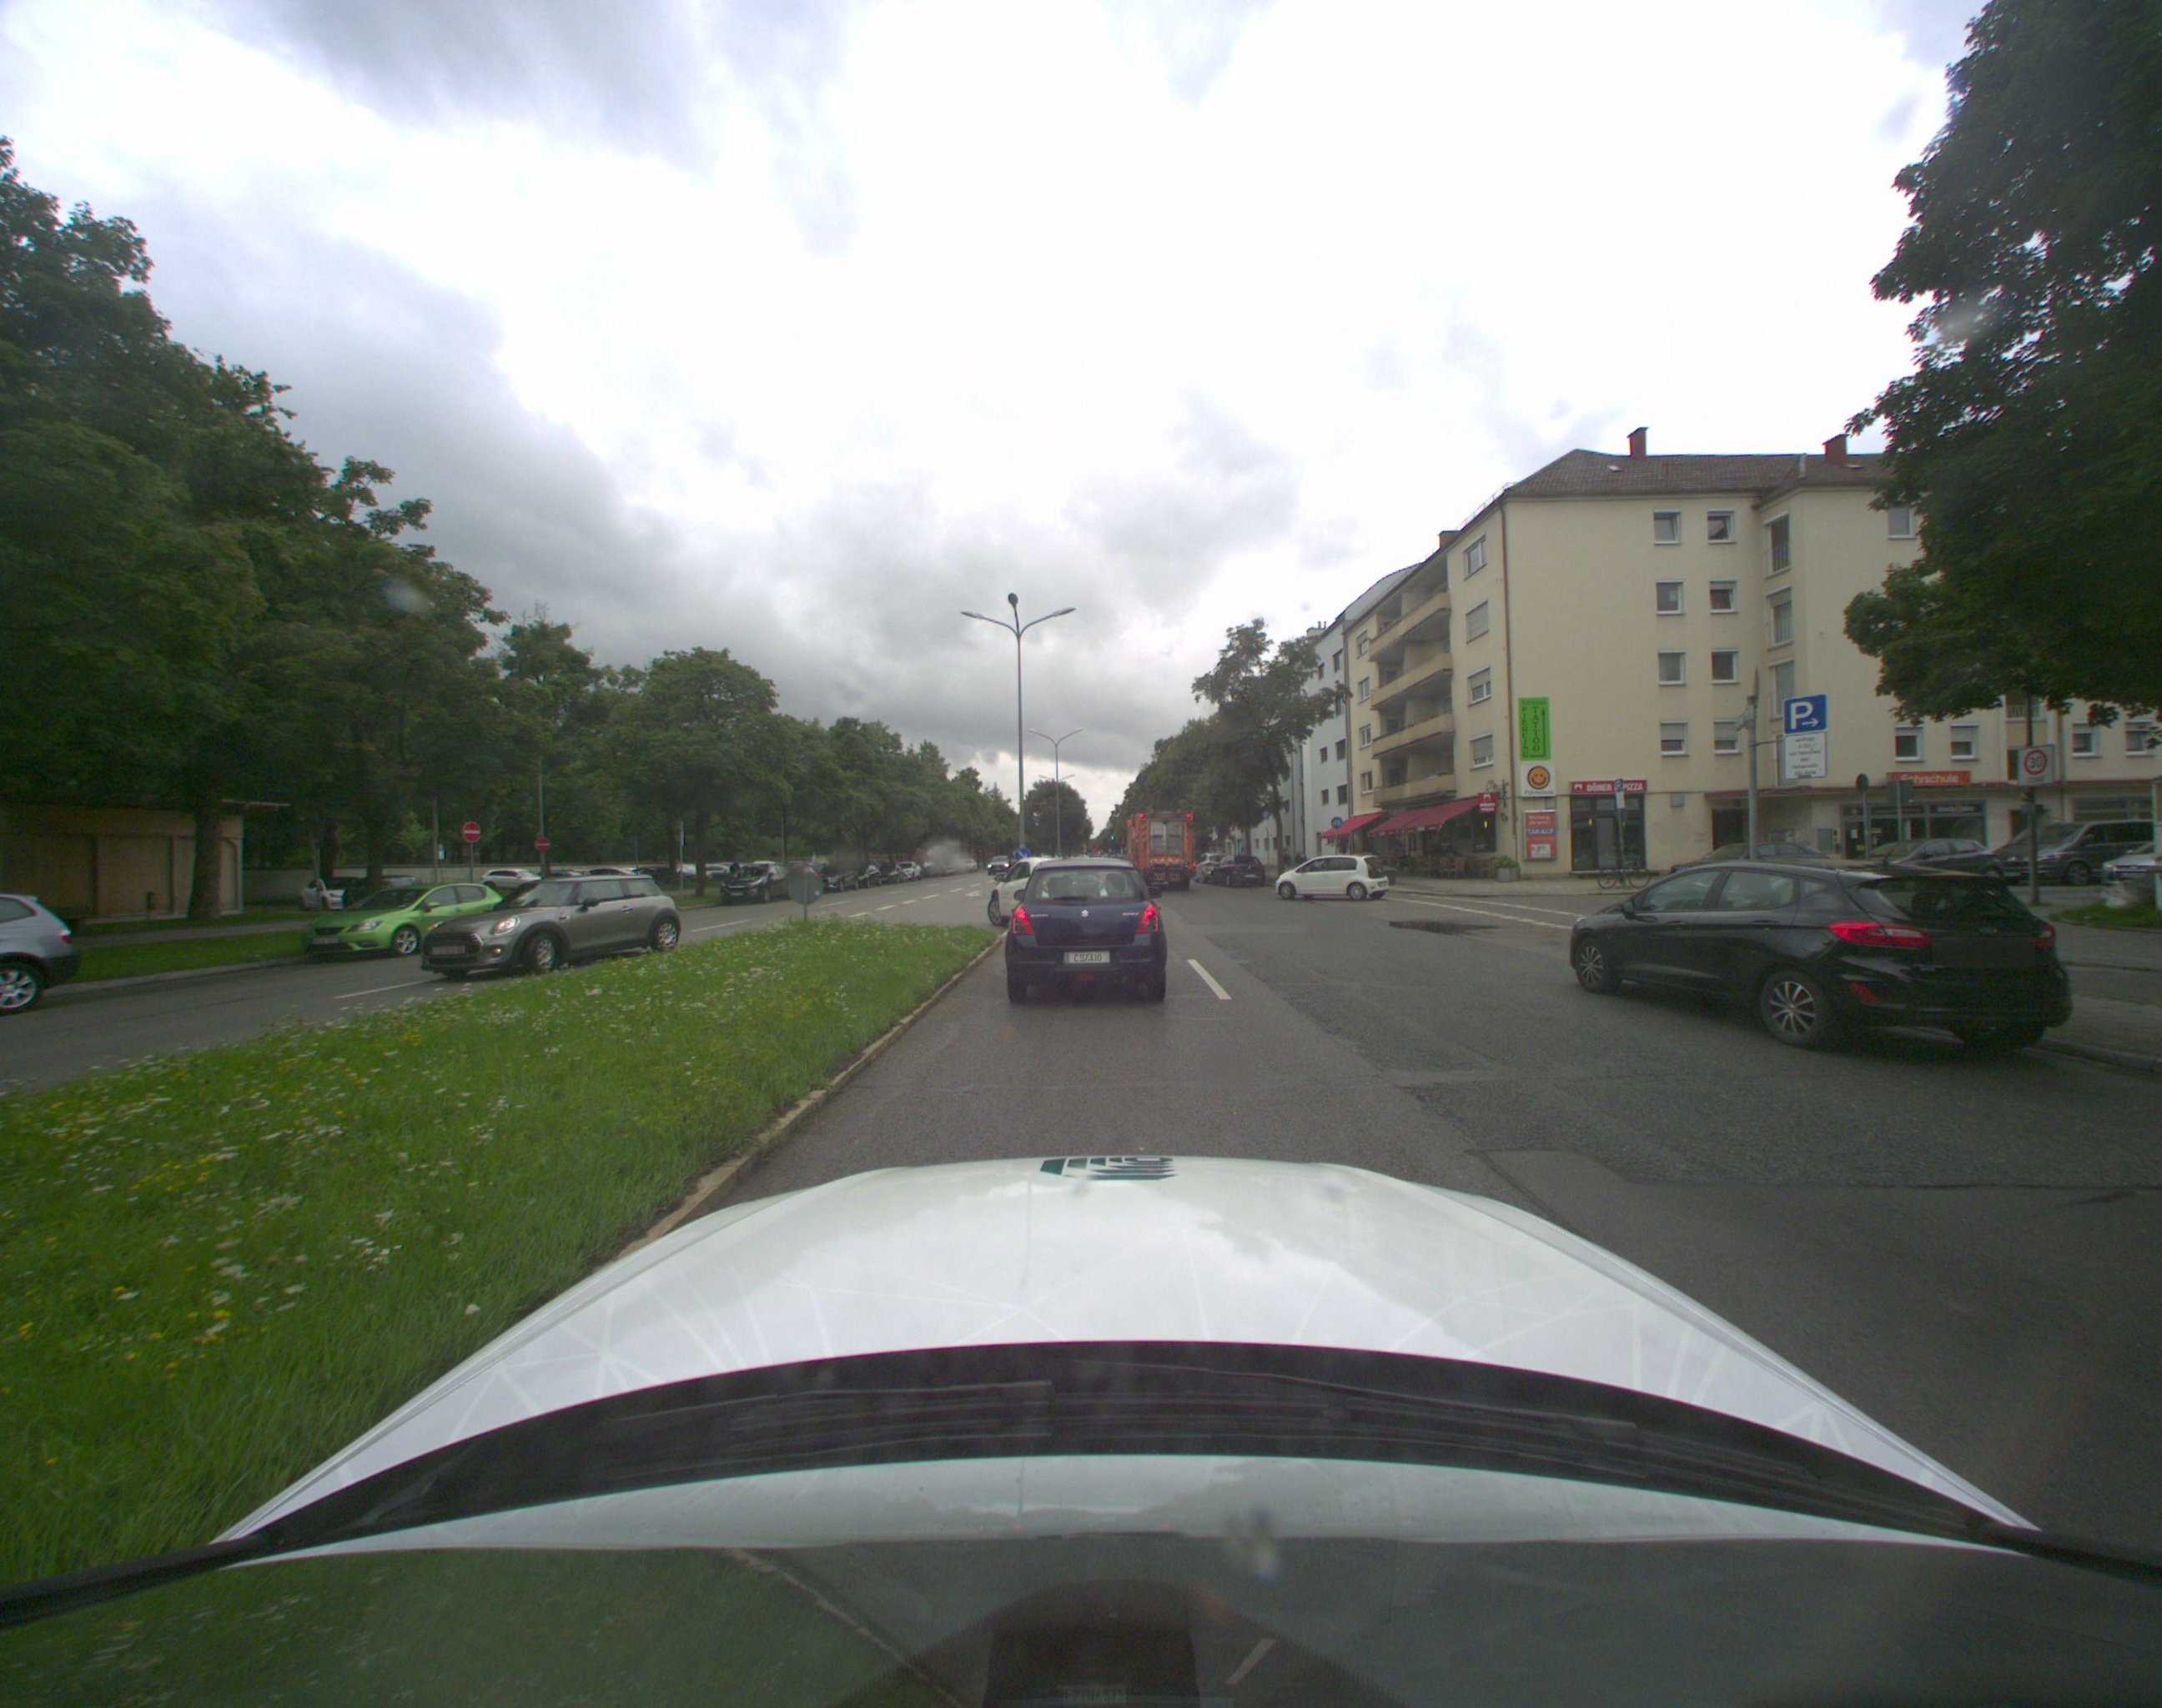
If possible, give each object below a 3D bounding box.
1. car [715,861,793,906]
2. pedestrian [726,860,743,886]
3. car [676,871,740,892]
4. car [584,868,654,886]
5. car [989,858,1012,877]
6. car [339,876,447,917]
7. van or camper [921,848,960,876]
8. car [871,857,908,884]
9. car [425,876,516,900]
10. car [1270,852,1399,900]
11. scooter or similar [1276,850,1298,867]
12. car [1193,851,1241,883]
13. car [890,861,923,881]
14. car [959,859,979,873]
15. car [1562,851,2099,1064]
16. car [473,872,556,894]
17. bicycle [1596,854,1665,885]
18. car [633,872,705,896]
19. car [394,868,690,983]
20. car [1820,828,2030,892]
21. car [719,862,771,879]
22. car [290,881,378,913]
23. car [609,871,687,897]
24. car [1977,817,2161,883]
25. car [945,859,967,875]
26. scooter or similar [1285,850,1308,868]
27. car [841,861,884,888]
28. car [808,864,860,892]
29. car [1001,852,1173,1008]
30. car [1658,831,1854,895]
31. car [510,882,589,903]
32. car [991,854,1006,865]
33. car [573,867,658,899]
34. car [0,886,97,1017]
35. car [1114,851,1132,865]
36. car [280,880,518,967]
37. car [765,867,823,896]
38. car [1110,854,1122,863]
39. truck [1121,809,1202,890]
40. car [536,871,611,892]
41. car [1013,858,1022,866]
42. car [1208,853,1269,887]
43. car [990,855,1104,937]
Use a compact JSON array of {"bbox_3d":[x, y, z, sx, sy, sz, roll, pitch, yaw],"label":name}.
[{"bbox_3d":[-13.766,1.192,34.524,1.711,1.741,3.879,-1,0,0],"label":"car"},{"bbox_3d":[-20.773,1.121,48.830,0.725,1.534,0.721,-1,-1,1],"label":"pedestrian"},{"bbox_3d":[-27.041,1.967,59.159,3.859,1.445,1.670,-1,0,-5],"label":"car"},{"bbox_3d":[-37.546,1.857,66.247,4.674,1.445,1.673,-1,0,1],"label":"car"},{"bbox_3d":[-7.005,1.142,71.223,1.627,1.552,3.879,-1,0,0],"label":"car"},{"bbox_3d":[-26.685,1.596,31.565,4.363,1.446,1.973,-1,-1,33],"label":"car"},{"bbox_3d":[-13.030,0.759,76.099,2.109,2.482,7.452,-1,0,2],"label":"van or camper"},{"bbox_3d":[-13.249,1.117,56.577,1.627,1.741,3.879,-1,0,0],"label":"car"},{"bbox_3d":[-39.567,2.182,52.822,4.672,1.445,1.674,-1,0,2],"label":"car"},{"bbox_3d":[8.258,0.700,26.630,3.514,1.417,1.883,-2,0,42],"label":"car"},{"bbox_3d":[16.212,0.337,64.178,1.029,1.307,2.756,-2,0,2],"label":"scooter or similar"},{"bbox_3d":[7.096,0.632,42.769,1.786,1.558,4.224,-2,0,0],"label":"car"},{"bbox_3d":[-13.234,1.285,61.911,1.627,1.431,3.879,-1,0,0],"label":"car"},{"bbox_3d":[-12.594,1.342,91.620,1.627,1.583,3.879,-1,0,0],"label":"car"},{"bbox_3d":[6.280,0.724,7.481,1.611,1.465,3.675,0,0,1],"label":"car"},{"bbox_3d":[-38.562,1.961,55.460,4.489,1.476,1.673,-1,-1,1],"label":"car"},{"bbox_3d":[17.659,0.504,26.197,1.842,0.957,0.557,-1,-1,-1],"label":"bicycle"},{"bbox_3d":[-27.174,1.975,53.828,3.859,1.445,1.670,-1,0,-5],"label":"car"},{"bbox_3d":[-8.347,1.019,13.052,1.670,1.463,3.749,-1,0,15],"label":"car"},{"bbox_3d":[24.925,0.161,24.154,4.382,1.661,1.870,-2,0,-2],"label":"car"},{"bbox_3d":[-29.417,1.461,71.392,3.859,1.445,1.670,-1,0,-5],"label":"car"},{"bbox_3d":[-31.533,1.788,34.358,4.363,1.201,1.683,-1,-1,33],"label":"car"},{"bbox_3d":[-26.533,1.822,49.990,3.859,1.445,1.670,-1,0,-5],"label":"car"},{"bbox_3d":[30.396,-0.147,24.558,4.721,1.773,1.871,-2,0,-1],"label":"car"},{"bbox_3d":[-12.900,1.311,83.974,1.627,1.583,3.879,-1,0,0],"label":"car"},{"bbox_3d":[16.062,0.346,60.846,1.029,1.307,2.756,-2,0,2],"label":"scooter or similar"},{"bbox_3d":[-13.421,1.232,50.198,1.585,1.558,3.879,-1,0,0],"label":"car"},{"bbox_3d":[-13.513,1.273,44.758,1.662,1.445,3.879,-1,0,0],"label":"car"},{"bbox_3d":[0.068,0.746,10.011,1.676,1.502,3.918,-1,0,0],"label":"car"},{"bbox_3d":[19.985,0.258,24.214,4.384,1.661,1.869,-2,0,-4],"label":"car"},{"bbox_3d":[-38.981,2.814,59.806,4.674,1.445,1.673,-1,0,1],"label":"car"},{"bbox_3d":[-11.541,0.775,114.488,1.627,1.583,3.879,-1,0,0],"label":"car"},{"bbox_3d":[-26.706,1.659,46.812,3.911,1.718,1.670,-1,0,-5],"label":"car"},{"bbox_3d":[-14.375,1.285,8.960,1.685,1.586,4.371,-3,0,0],"label":"car"},{"bbox_3d":[4.498,0.416,87.240,1.752,1.413,4.463,0,0,1],"label":"car"},{"bbox_3d":[-14.208,1.377,17.293,1.541,1.409,3.883,-3,0,4],"label":"car"},{"bbox_3d":[-13.947,1.305,39.686,1.585,1.312,3.380,-1,0,0],"label":"car"},{"bbox_3d":[5.324,0.670,123.398,1.676,1.384,3.919,0,0,1],"label":"car"},{"bbox_3d":[3.434,-0.174,37.013,3.027,3.189,9.136,-1,0,2],"label":"truck"},{"bbox_3d":[-38.763,2.091,62.220,4.674,1.445,1.673,-1,0,1],"label":"car"},{"bbox_3d":[-12.962,1.606,166.000,1.627,1.583,3.879,-1,0,0],"label":"car"},{"bbox_3d":[7.283,0.708,37.991,1.861,1.417,4.221,-2,0,-2],"label":"car"},{"bbox_3d":[-0.786,0.782,16.651,1.449,1.483,3.085,-1,0,-20],"label":"car"}]
